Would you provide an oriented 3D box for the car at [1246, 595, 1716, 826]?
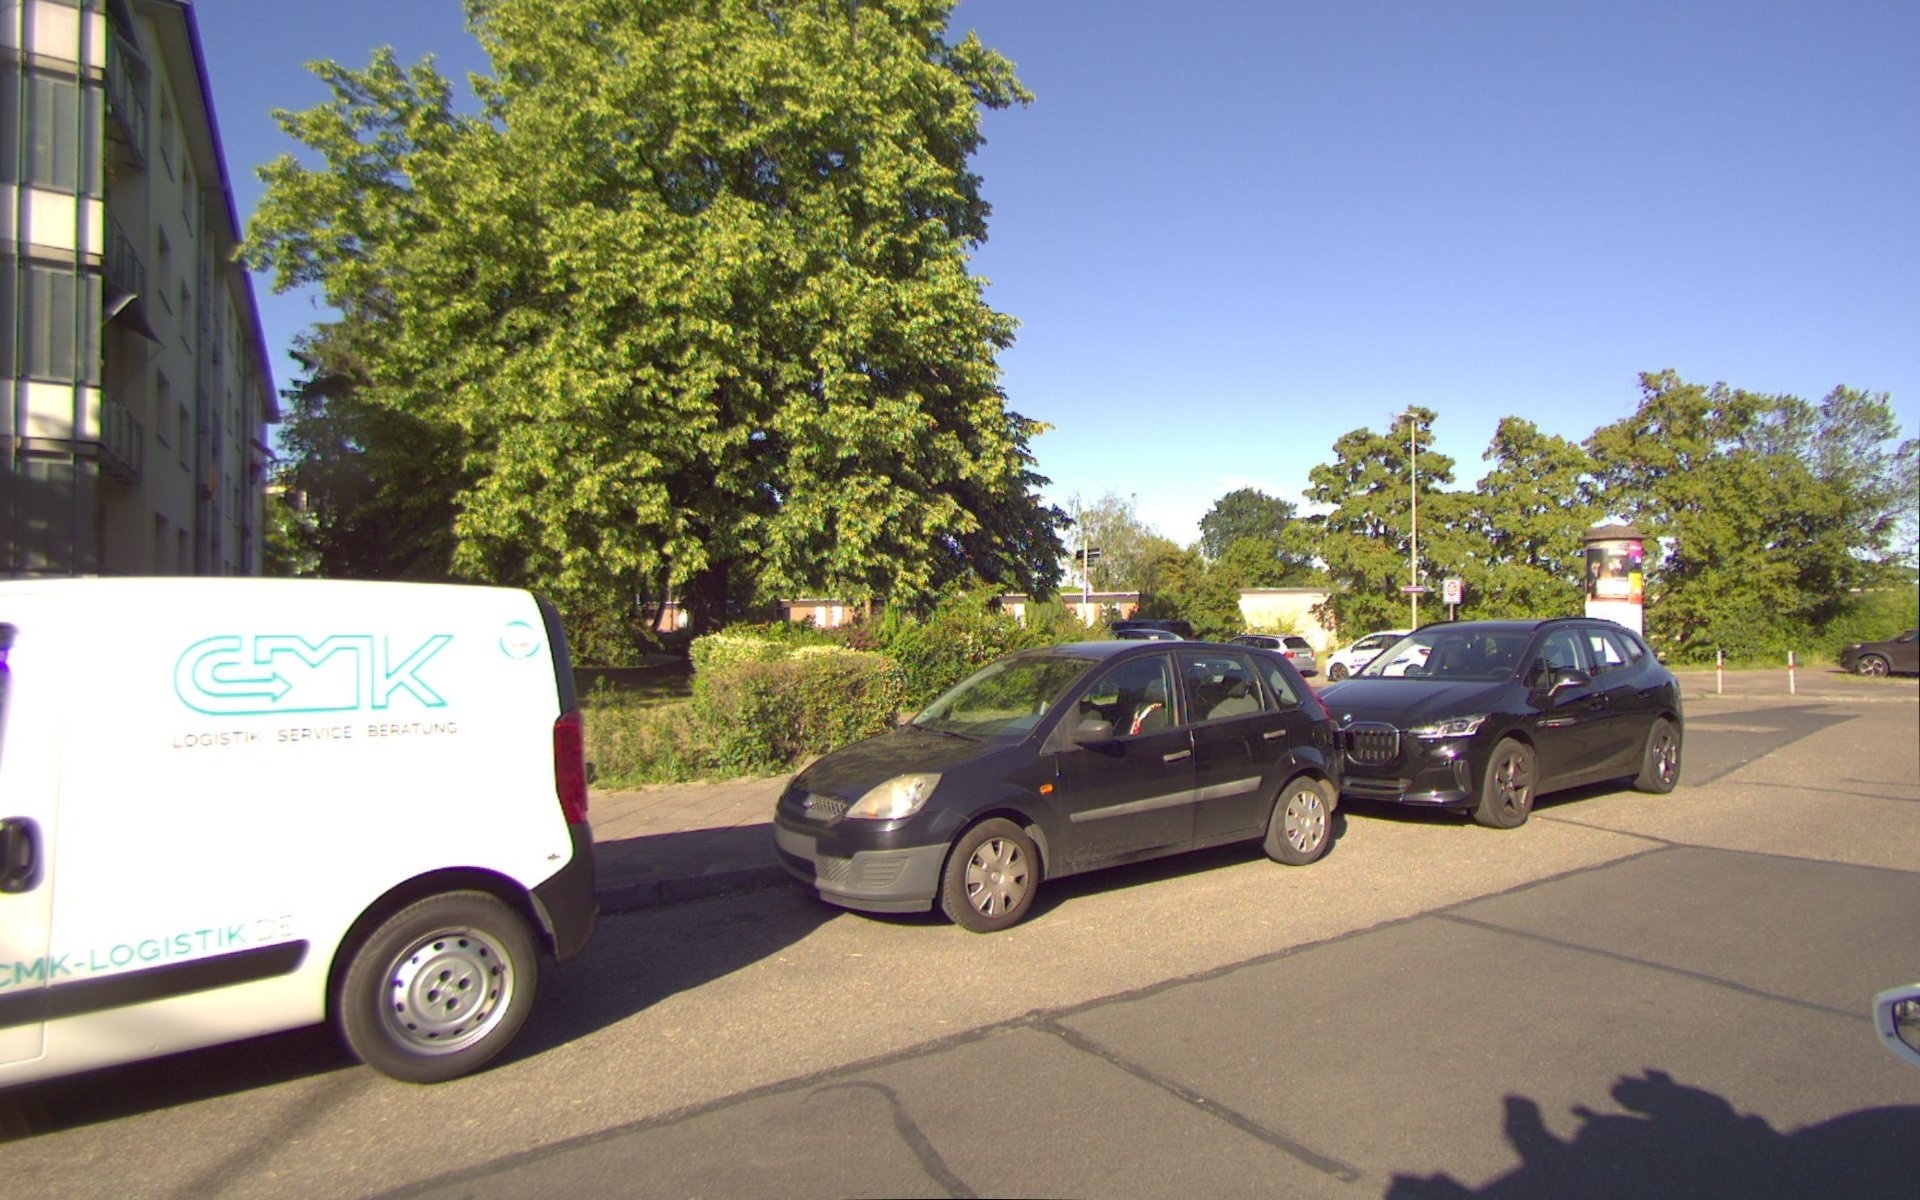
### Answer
[{"bbox_3d":[4.727,0.835,8.913,4.377,1.594,1.770,0,-4,-34],"label":"car"}]

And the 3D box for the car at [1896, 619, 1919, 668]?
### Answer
[{"bbox_3d":[31.959,1.432,31.188,1.813,1.553,3.961,2,0,-35],"label":"car"}]

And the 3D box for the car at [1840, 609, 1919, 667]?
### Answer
[{"bbox_3d":[29.260,1.179,30.010,1.828,1.678,4.159,2,0,-35],"label":"car"}]

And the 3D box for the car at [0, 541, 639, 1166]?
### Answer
[{"bbox_3d":[-3.182,0.743,3.479,3.609,1.704,1.803,0,-4,-33],"label":"car"}]

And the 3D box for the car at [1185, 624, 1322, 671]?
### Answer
[{"bbox_3d":[9.747,1.592,33.653,1.721,1.481,4.303,2,-3,-35],"label":"car"}]

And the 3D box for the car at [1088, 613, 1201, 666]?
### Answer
[{"bbox_3d":[6.965,1.531,38.369,1.721,1.879,4.303,2,-3,-35],"label":"car"}]

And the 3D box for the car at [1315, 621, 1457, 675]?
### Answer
[{"bbox_3d":[12.574,1.427,29.786,1.721,1.481,3.496,2,-3,-35],"label":"car"}]

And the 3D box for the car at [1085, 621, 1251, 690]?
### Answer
[{"bbox_3d":[5.010,1.348,24.672,1.729,1.563,3.890,2,-3,-35],"label":"car"}]

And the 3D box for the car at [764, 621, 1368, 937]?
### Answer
[{"bbox_3d":[0.764,0.906,6.389,3.615,1.455,1.614,0,-4,-34],"label":"car"}]

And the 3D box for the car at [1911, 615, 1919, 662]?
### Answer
[{"bbox_3d":[33.733,1.335,32.460,1.794,1.532,4.065,2,0,-35],"label":"car"}]
